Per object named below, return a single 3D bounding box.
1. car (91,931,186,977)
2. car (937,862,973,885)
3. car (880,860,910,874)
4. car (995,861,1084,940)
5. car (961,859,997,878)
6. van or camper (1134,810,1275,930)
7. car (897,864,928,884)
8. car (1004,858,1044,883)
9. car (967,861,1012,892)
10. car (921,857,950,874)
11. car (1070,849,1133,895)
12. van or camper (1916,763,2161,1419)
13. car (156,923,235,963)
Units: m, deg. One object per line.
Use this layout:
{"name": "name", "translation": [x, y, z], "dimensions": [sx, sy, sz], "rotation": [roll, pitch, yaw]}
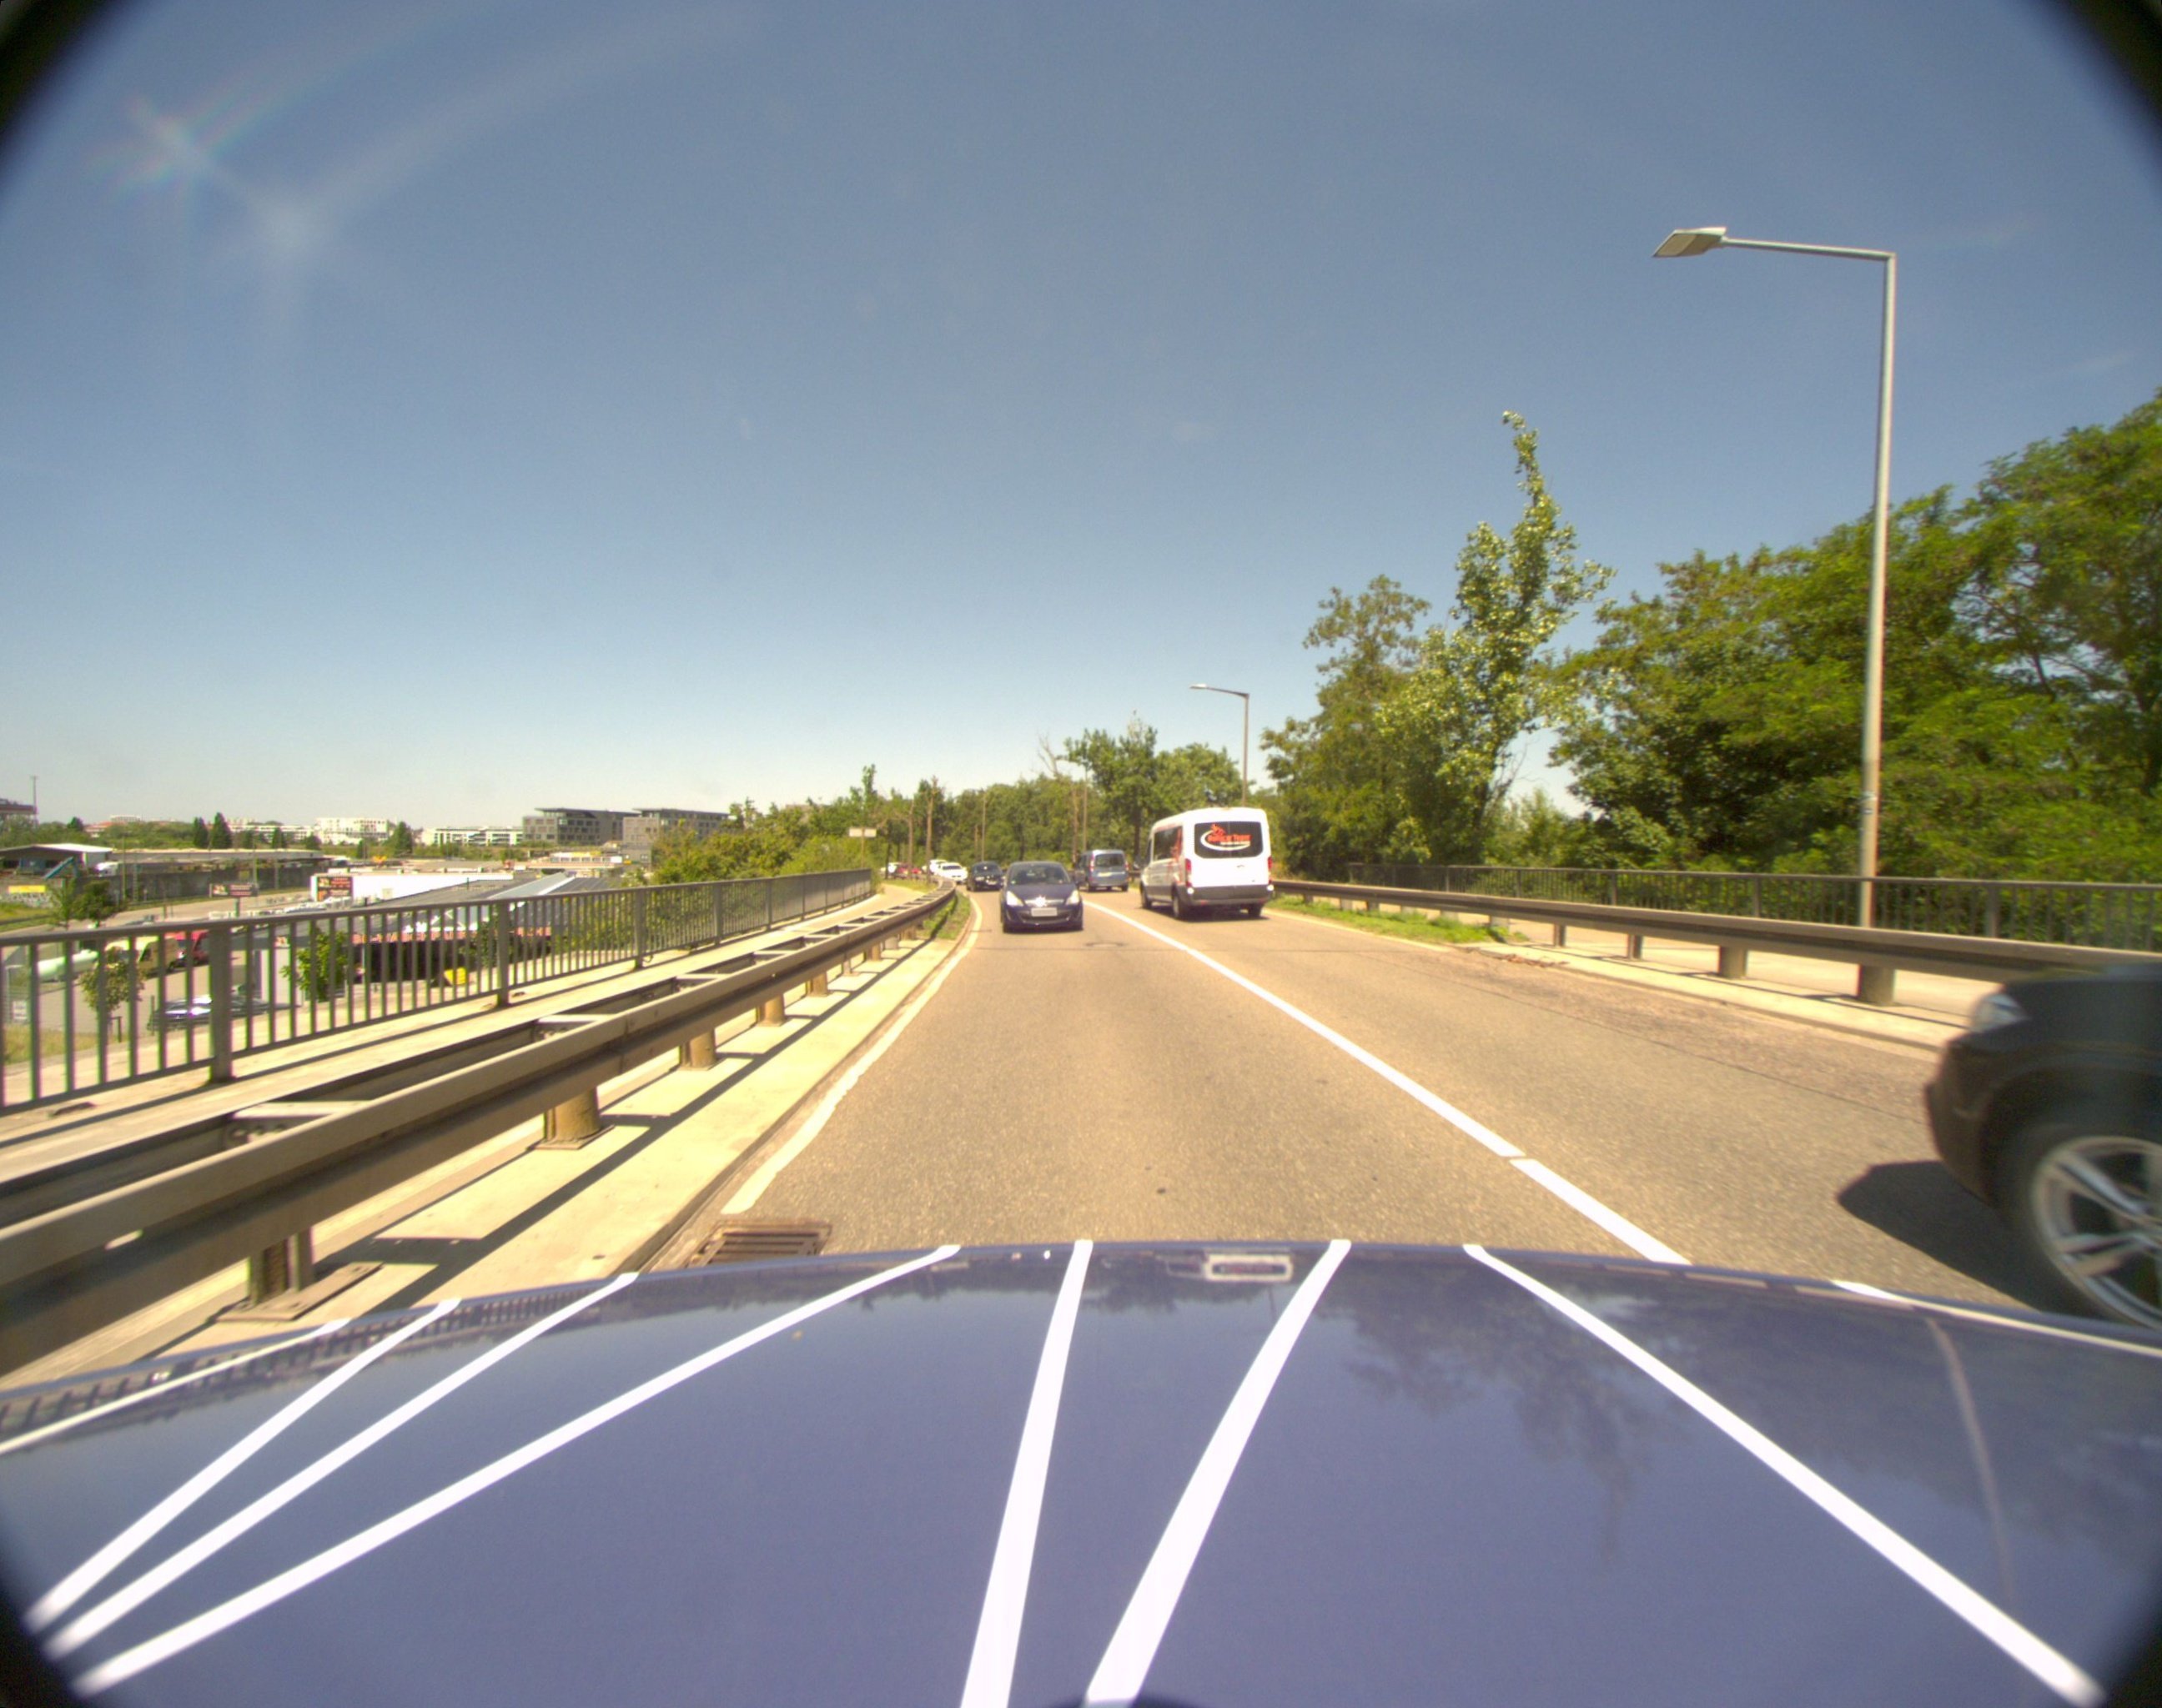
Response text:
{"name": "car", "translation": [-63.257, 6.634, 51.142], "dimensions": [2.155, 2.339, 4.918], "rotation": [-6, 2, -29]}
{"name": "car", "translation": [-8.352, 1.253, 50.163], "dimensions": [1.819, 1.419, 3.710], "rotation": [-2, 0, -18]}
{"name": "car", "translation": [-20.863, 1.461, 85.264], "dimensions": [1.709, 1.438, 4.448], "rotation": [-2, 0, -35]}
{"name": "car", "translation": [-0.996, 0.928, 17.086], "dimensions": [1.699, 1.459, 4.381], "rotation": [-2, 0, -5]}
{"name": "car", "translation": [-8.046, 1.087, 59.575], "dimensions": [1.724, 1.419, 4.099], "rotation": [-1, 0, -24]}
{"name": "van or camper", "translation": [2.889, 0.352, 19.305], "dimensions": [2.054, 2.522, 5.880], "rotation": [-1, 0, -6]}
{"name": "car", "translation": [-15.225, 1.781, 68.608], "dimensions": [1.904, 1.645, 4.248], "rotation": [-1, 2, -24]}
{"name": "car", "translation": [-3.630, 1.010, 47.859], "dimensions": [1.763, 1.434, 4.562], "rotation": [-2, 0, -14]}
{"name": "car", "translation": [-4.578, 1.054, 37.462], "dimensions": [1.571, 1.408, 4.117], "rotation": [-2, 0, -15]}
{"name": "car", "translation": [-14.106, 1.086, 73.400], "dimensions": [1.753, 1.537, 4.384], "rotation": [-2, 0, -24]}
{"name": "car", "translation": [0.819, 0.737, 33.307], "dimensions": [1.763, 1.844, 4.270], "rotation": [-2, 0, -12]}
{"name": "van or camper", "translation": [3.856, 0.655, 0.254], "dimensions": [1.998, 1.751, 4.697], "rotation": [0, 1, 1]}
{"name": "car", "translation": [-66.595, 6.634, 57.237], "dimensions": [2.155, 2.339, 4.918], "rotation": [-6, 2, -30]}
